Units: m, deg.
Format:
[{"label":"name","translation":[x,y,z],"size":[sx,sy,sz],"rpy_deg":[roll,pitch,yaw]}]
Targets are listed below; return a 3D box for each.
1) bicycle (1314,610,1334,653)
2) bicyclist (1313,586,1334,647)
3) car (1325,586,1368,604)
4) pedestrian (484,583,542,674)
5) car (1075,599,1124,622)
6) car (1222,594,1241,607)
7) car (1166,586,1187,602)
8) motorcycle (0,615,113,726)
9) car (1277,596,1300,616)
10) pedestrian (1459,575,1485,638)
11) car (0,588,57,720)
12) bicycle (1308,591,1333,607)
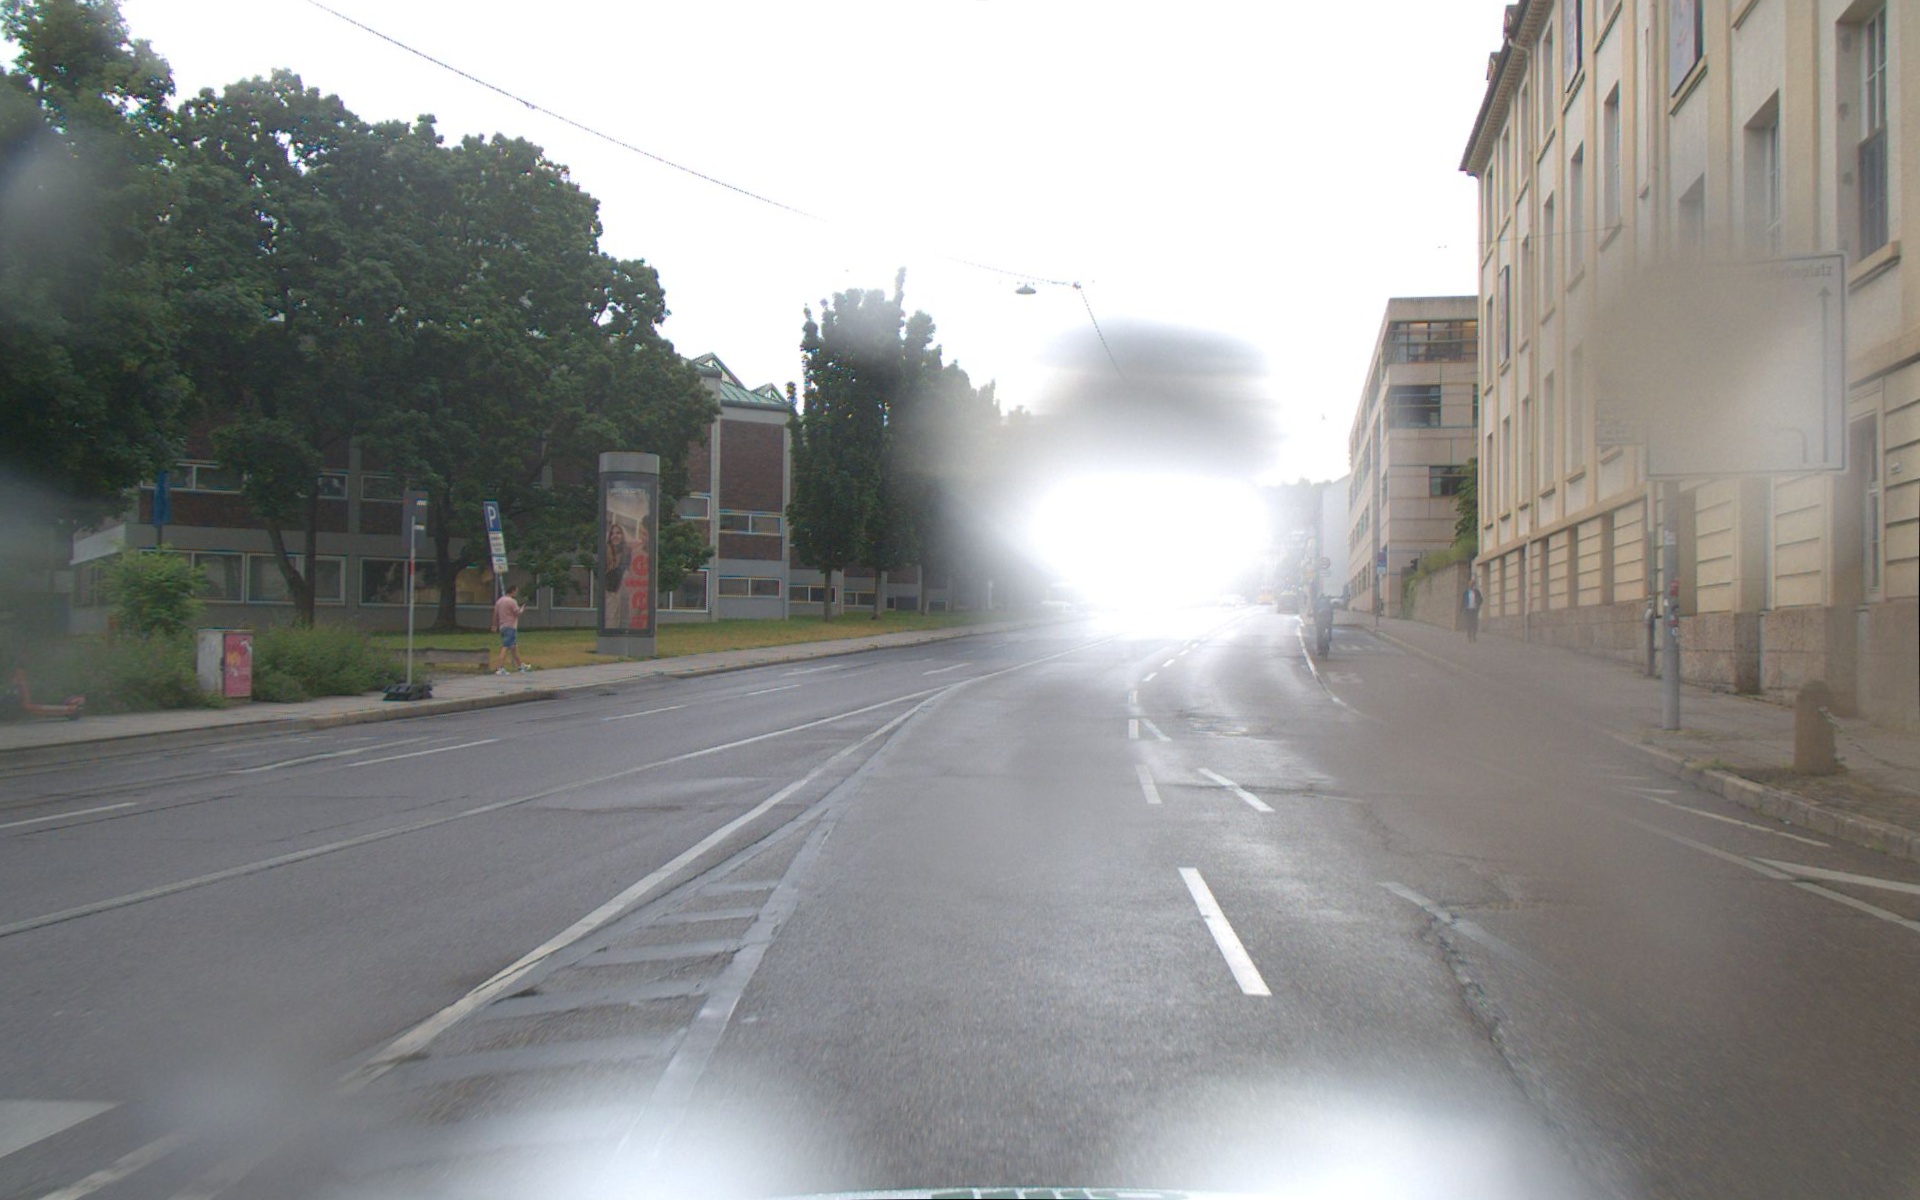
[{"label":"bicycle","translation":[8.773,0.760,39.888],"size":[0.438,0.980,1.691],"rpy_deg":[0,1,13]},{"label":"bicyclist","translation":[8.778,0.393,39.900],"size":[0.474,1.458,0.931],"rpy_deg":[1,0,13]},{"label":"car","translation":[42.134,-0.574,180.307],"size":[4.343,1.742,1.906],"rpy_deg":[-3,-1,11]},{"label":"pedestrian","translation":[-8.593,0.542,31.829],"size":[0.656,1.716,0.914],"rpy_deg":[1,-1,18]},{"label":"car","translation":[11.736,0.890,139.317],"size":[3.822,1.847,1.936],"rpy_deg":[1,0,14]},{"label":"car","translation":[33.842,0.096,205.987],"size":[1.841,1.517,5.224],"rpy_deg":[-2,0,14]},{"label":"car","translation":[22.354,-0.621,170.657],"size":[1.810,1.646,4.494],"rpy_deg":[1,0,11]},{"label":"motorcycle","translation":[-10.795,0.821,19.755],"size":[0.503,1.269,1.268],"rpy_deg":[1,0,12]},{"label":"car","translation":[27.970,0.521,140.882],"size":[1.733,1.632,4.398],"rpy_deg":[1,0,10]},{"label":"pedestrian","translation":[15.013,0.185,48.507],"size":[0.656,1.829,0.852],"rpy_deg":[1,-1,13]},{"label":"car","translation":[-13.591,0.647,22.390],"size":[1.837,1.637,4.496],"rpy_deg":[1,0,-22]},{"label":"bicycle","translation":[25.720,-0.066,118.039],"size":[1.692,1.138,0.660],"rpy_deg":[0,-1,6]}]
